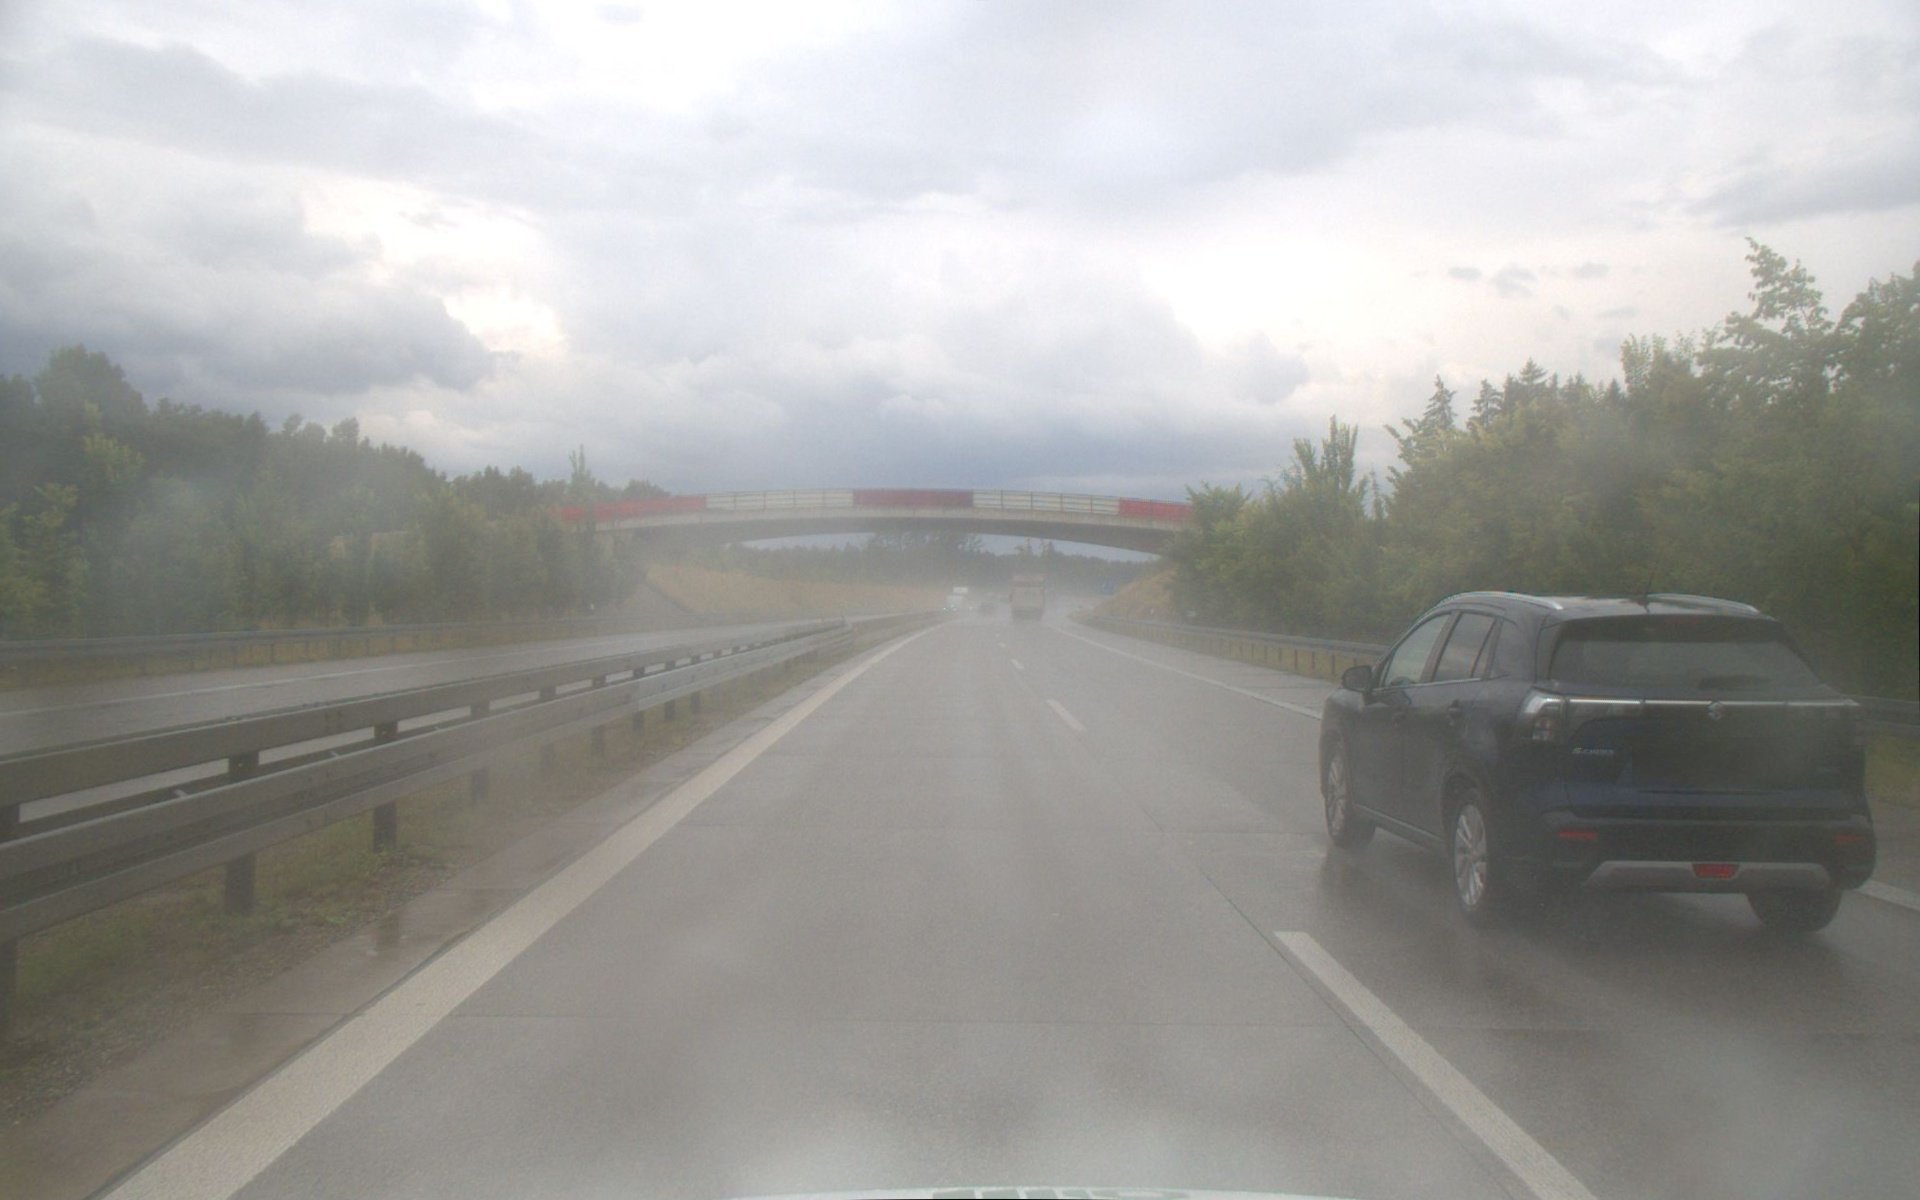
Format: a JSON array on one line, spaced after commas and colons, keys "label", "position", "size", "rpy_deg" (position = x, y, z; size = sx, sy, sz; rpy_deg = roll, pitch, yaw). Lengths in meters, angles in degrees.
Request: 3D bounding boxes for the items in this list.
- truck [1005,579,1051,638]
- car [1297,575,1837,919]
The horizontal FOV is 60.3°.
[{"label": "truck", "position": [5.464, 0.594, 130.847], "size": [3.175, 4.514, 8.251], "rpy_deg": [0, 0, 5]}, {"label": "car", "position": [3.258, 0.695, 9.692], "size": [1.855, 1.603, 3.632], "rpy_deg": [1, 0, 1]}]
